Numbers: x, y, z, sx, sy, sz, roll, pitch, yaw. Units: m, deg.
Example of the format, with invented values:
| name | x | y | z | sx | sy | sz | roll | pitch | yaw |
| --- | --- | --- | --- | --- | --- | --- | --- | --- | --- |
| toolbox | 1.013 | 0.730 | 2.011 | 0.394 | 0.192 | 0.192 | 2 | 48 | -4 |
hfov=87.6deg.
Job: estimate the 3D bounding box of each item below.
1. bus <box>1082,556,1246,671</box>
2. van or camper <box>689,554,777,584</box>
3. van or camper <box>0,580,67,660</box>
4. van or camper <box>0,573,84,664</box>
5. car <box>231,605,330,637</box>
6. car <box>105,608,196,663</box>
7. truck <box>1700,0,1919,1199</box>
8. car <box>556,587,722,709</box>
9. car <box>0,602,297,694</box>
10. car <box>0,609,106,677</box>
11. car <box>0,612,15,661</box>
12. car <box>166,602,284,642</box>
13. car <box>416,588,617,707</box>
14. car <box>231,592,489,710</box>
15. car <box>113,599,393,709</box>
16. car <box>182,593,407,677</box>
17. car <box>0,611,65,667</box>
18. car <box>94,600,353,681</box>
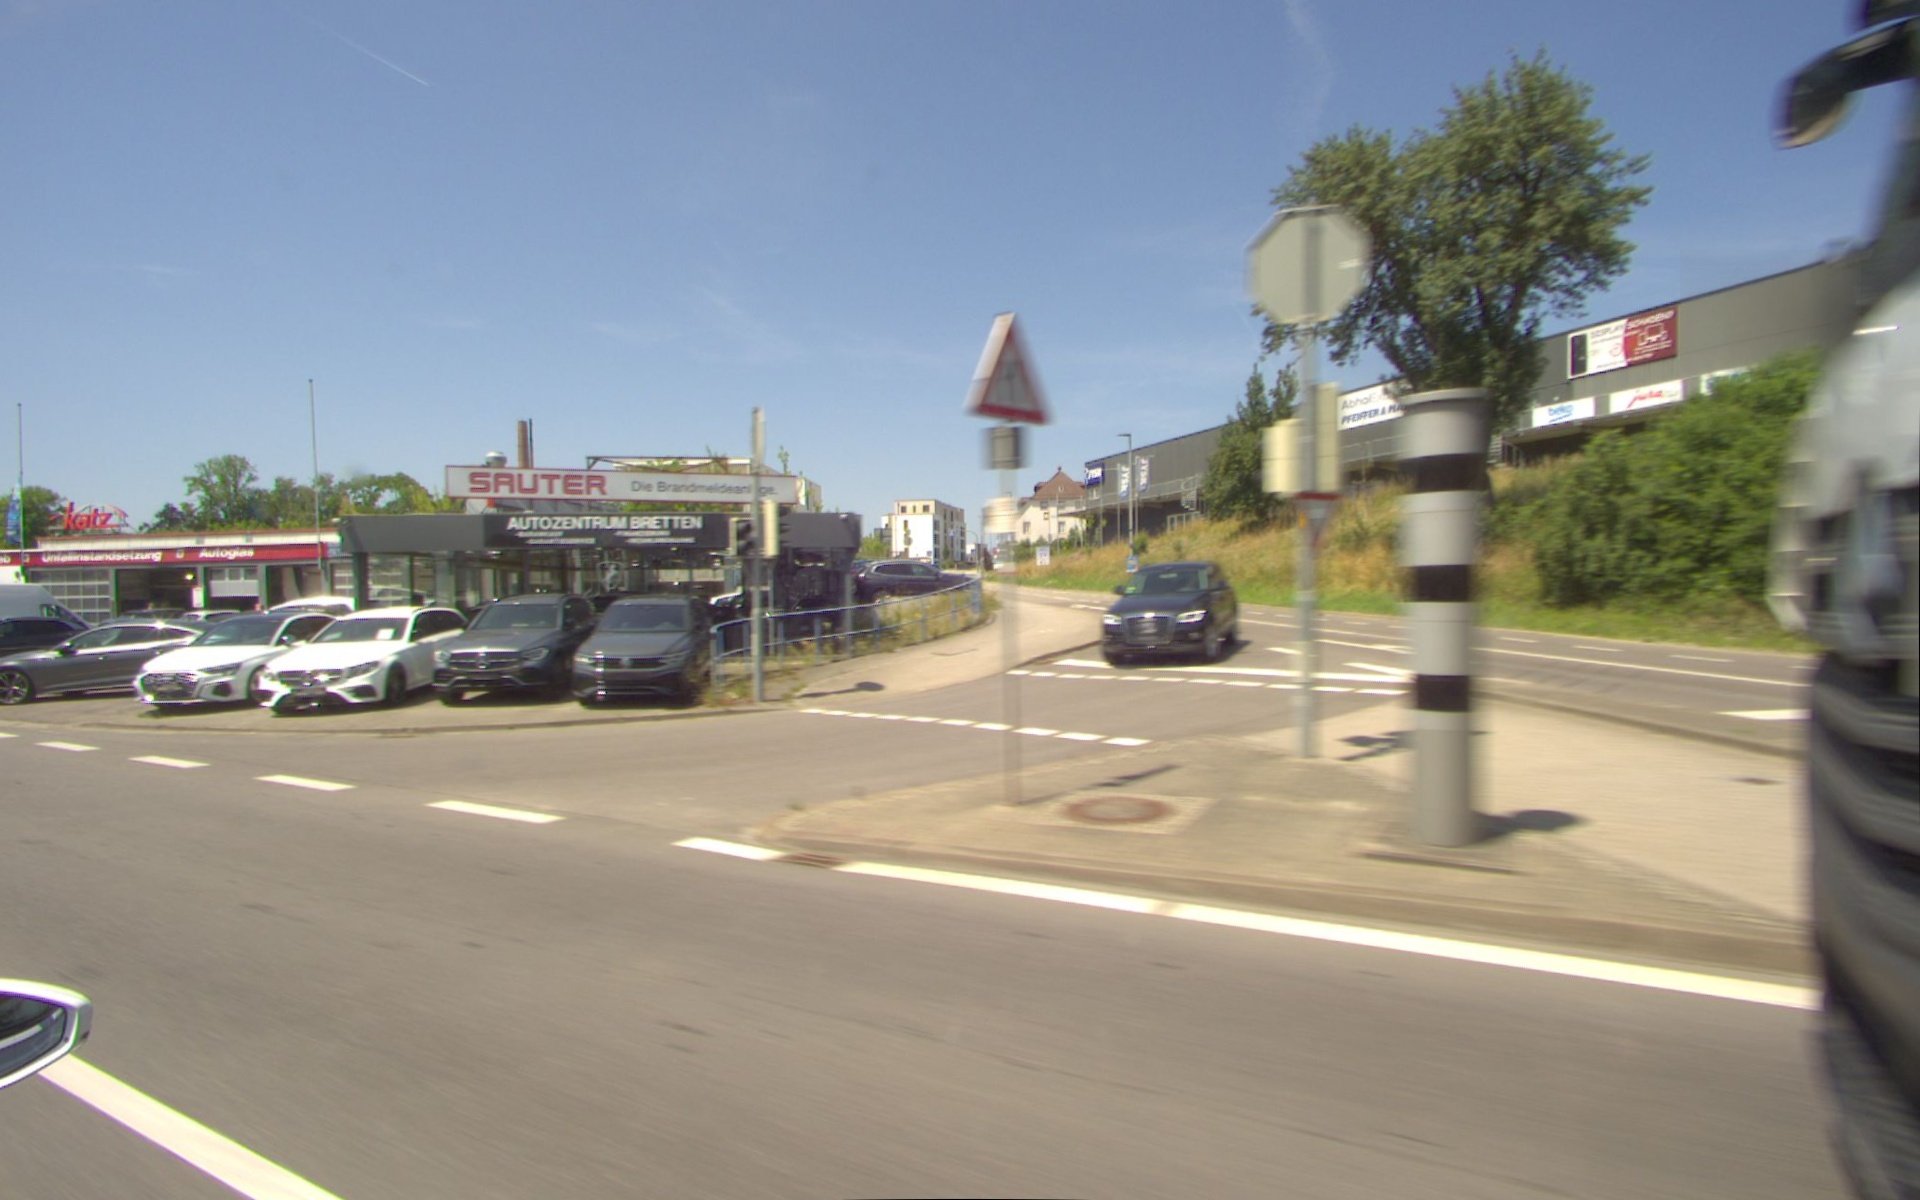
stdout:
| name | x | y | z | sx | sy | sz | roll | pitch | yaw |
| --- | --- | --- | --- | --- | --- | --- | --- | --- | --- |
| bus | 3.832 | 0.147 | 18.138 | 1.912 | 1.674 | 4.486 | -2 | 3 | 24 |
| van or camper | -11.013 | -1.496 | 48.734 | 3.922 | 1.374 | 1.857 | 0 | -1 | -3 |
| van or camper | -34.306 | 0.687 | 34.124 | 2.203 | 2.766 | 5.458 | 0 | 0 | 36 |
| van or camper | -32.443 | 0.603 | 32.764 | 2.203 | 2.944 | 5.352 | 0 | 0 | 36 |
| car | -31.101 | 0.996 | 45.931 | 1.646 | 1.392 | 3.598 | 1 | -2 | 13 |
| car | -25.340 | 1.054 | 31.303 | 1.797 | 1.548 | 4.338 | -2 | 1 | -44 |
| truck | 4.438 | -0.642 | 0.524 | 6.236 | 4.065 | 2.966 | 0 | 2 | 32 |
| car | -5.342 | 0.702 | 17.228 | 1.848 | 1.715 | 4.180 | -1 | 2 | -6 |
| car | -15.976 | 0.897 | 19.339 | 4.842 | 1.406 | 1.926 | -3 | 2 | -10 |
| car | -24.469 | 1.082 | 25.160 | 2.022 | 1.646 | 4.338 | -1 | 0 | 7 |
| car | -31.519 | 1.126 | 30.387 | 1.827 | 1.518 | 3.802 | 0 | -1 | 32 |
| car | -33.746 | 0.977 | 46.107 | 1.823 | 1.596 | 3.989 | 0 | 2 | 20 |
| car | -7.565 | 0.704 | 17.584 | 1.848 | 1.715 | 4.171 | -1 | 2 | -4 |
| car | -10.077 | 0.749 | 17.356 | 1.961 | 1.574 | 4.734 | -1 | 3 | -6 |
| car | -12.441 | 0.853 | 18.069 | 1.712 | 1.429 | 4.471 | -1 | 4 | 2 |
| car | -16.093 | 0.803 | 24.440 | 4.070 | 1.737 | 1.852 | -3 | 2 | -10 |
| car | -27.190 | 1.038 | 26.904 | 2.051 | 1.518 | 4.319 | 0 | -1 | 31 |
| car | -15.974 | 0.832 | 21.960 | 4.088 | 1.439 | 1.852 | -3 | 2 | -10 |
